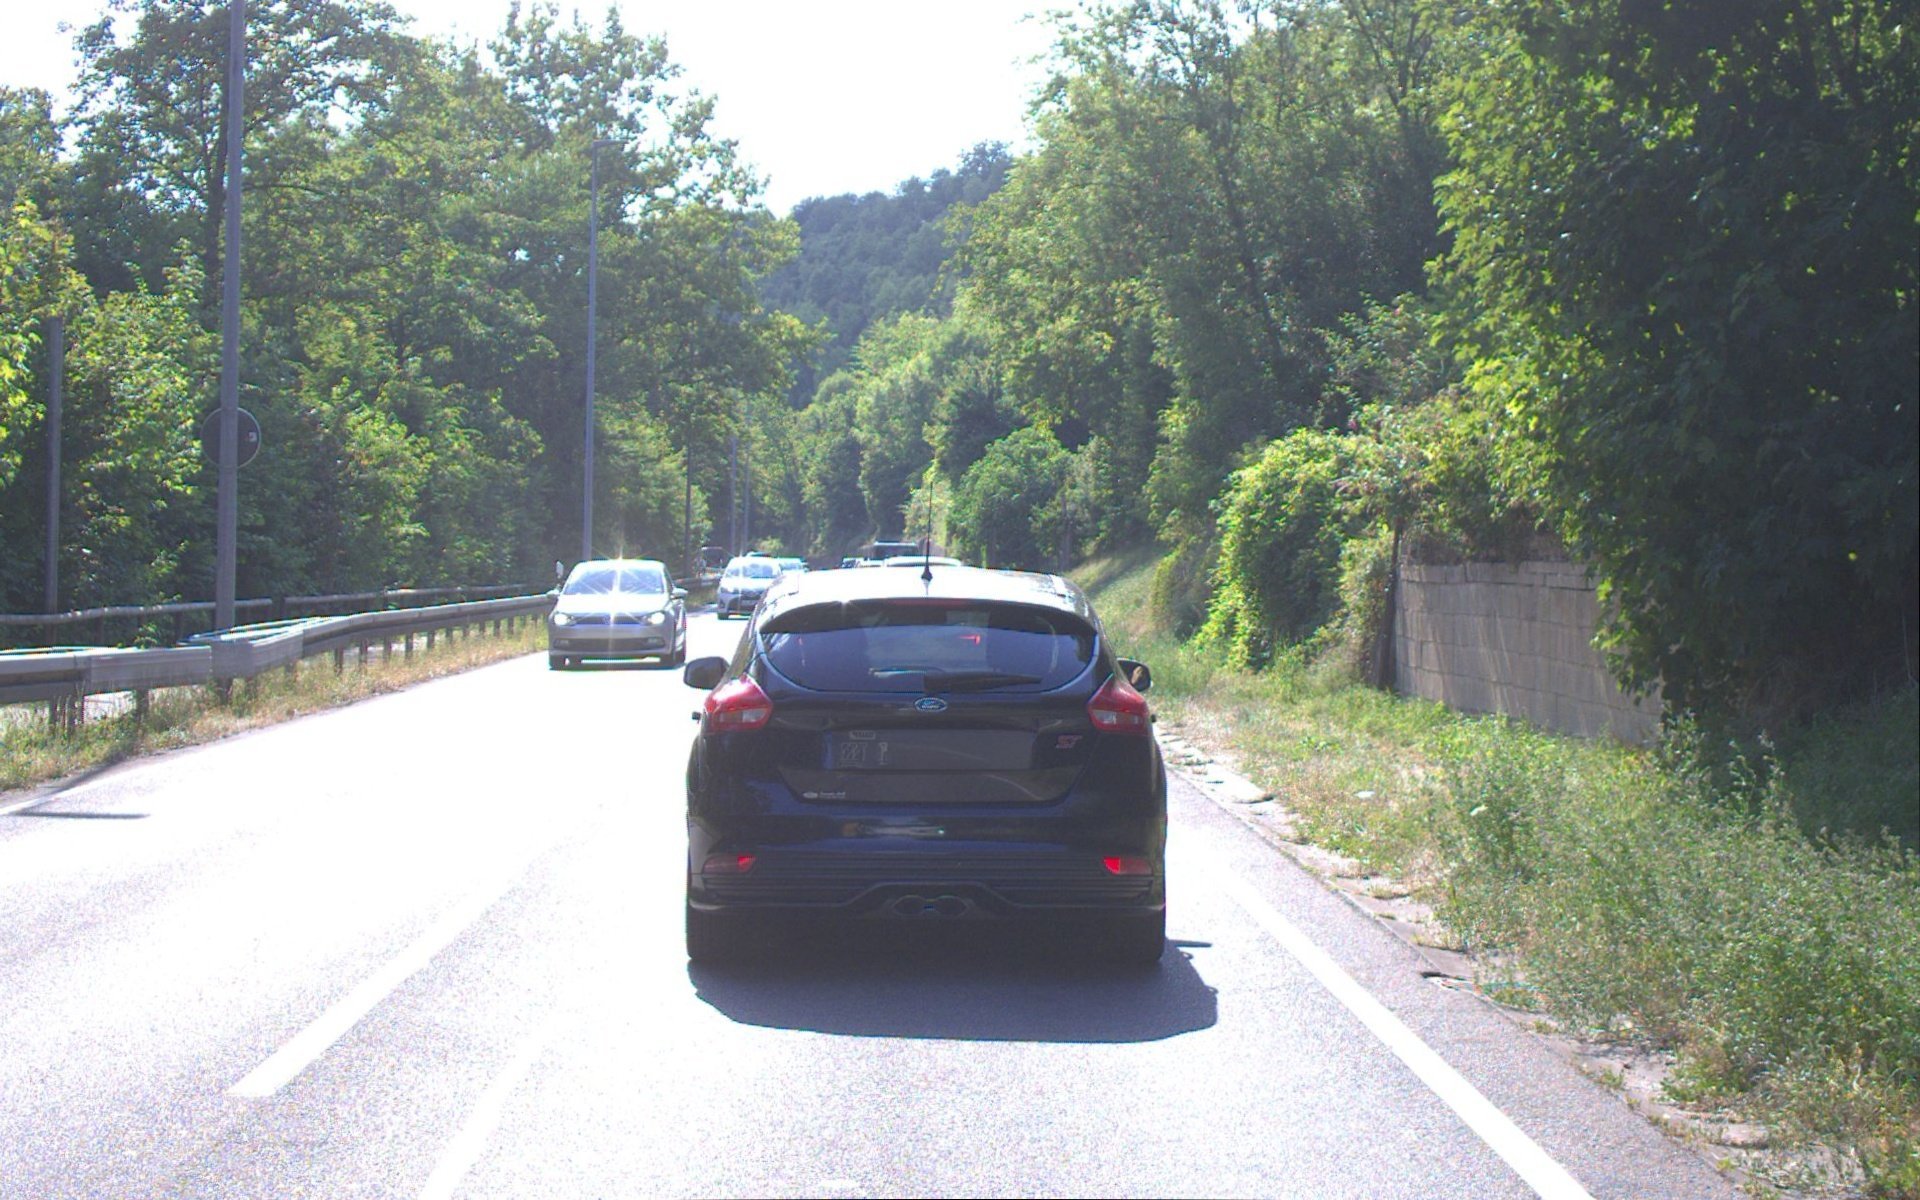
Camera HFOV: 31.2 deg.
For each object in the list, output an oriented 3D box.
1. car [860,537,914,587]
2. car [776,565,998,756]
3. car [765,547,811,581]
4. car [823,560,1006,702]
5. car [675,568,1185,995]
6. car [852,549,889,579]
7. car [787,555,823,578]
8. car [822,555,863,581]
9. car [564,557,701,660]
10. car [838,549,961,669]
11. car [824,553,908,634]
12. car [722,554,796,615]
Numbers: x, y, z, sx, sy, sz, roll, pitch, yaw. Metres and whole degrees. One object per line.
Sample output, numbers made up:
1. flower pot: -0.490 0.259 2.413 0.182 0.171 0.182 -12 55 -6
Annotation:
1. car: -2.656 -1.386 124.724 1.863 1.774 4.001 0 1 -3
2. car: -0.527 0.434 27.878 1.661 1.413 4.000 0 1 1
3. car: -7.175 -1.500 143.801 1.774 1.383 4.000 0 1 -1
4. car: -0.478 0.288 36.036 1.804 1.387 4.000 0 1 -1
5. car: -0.126 0.609 13.837 1.739 1.451 4.000 1 0 -1
6. car: -4.556 -1.867 176.132 1.819 1.514 4.000 0 1 -1
7. car: -10.444 -2.281 231.700 1.993 1.514 4.001 0 1 -9
8. car: -6.900 -1.899 201.818 1.993 1.514 4.001 0 1 -8
9. car: -4.573 0.086 48.431 1.623 1.372 4.048 0 1 -1
10. car: -0.830 0.091 47.902 1.631 1.590 4.000 0 1 -1
11. car: -1.893 -0.149 70.087 1.631 1.590 4.000 0 1 -1
12. car: -5.005 -0.397 85.822 1.681 1.458 4.198 1 1 -1
